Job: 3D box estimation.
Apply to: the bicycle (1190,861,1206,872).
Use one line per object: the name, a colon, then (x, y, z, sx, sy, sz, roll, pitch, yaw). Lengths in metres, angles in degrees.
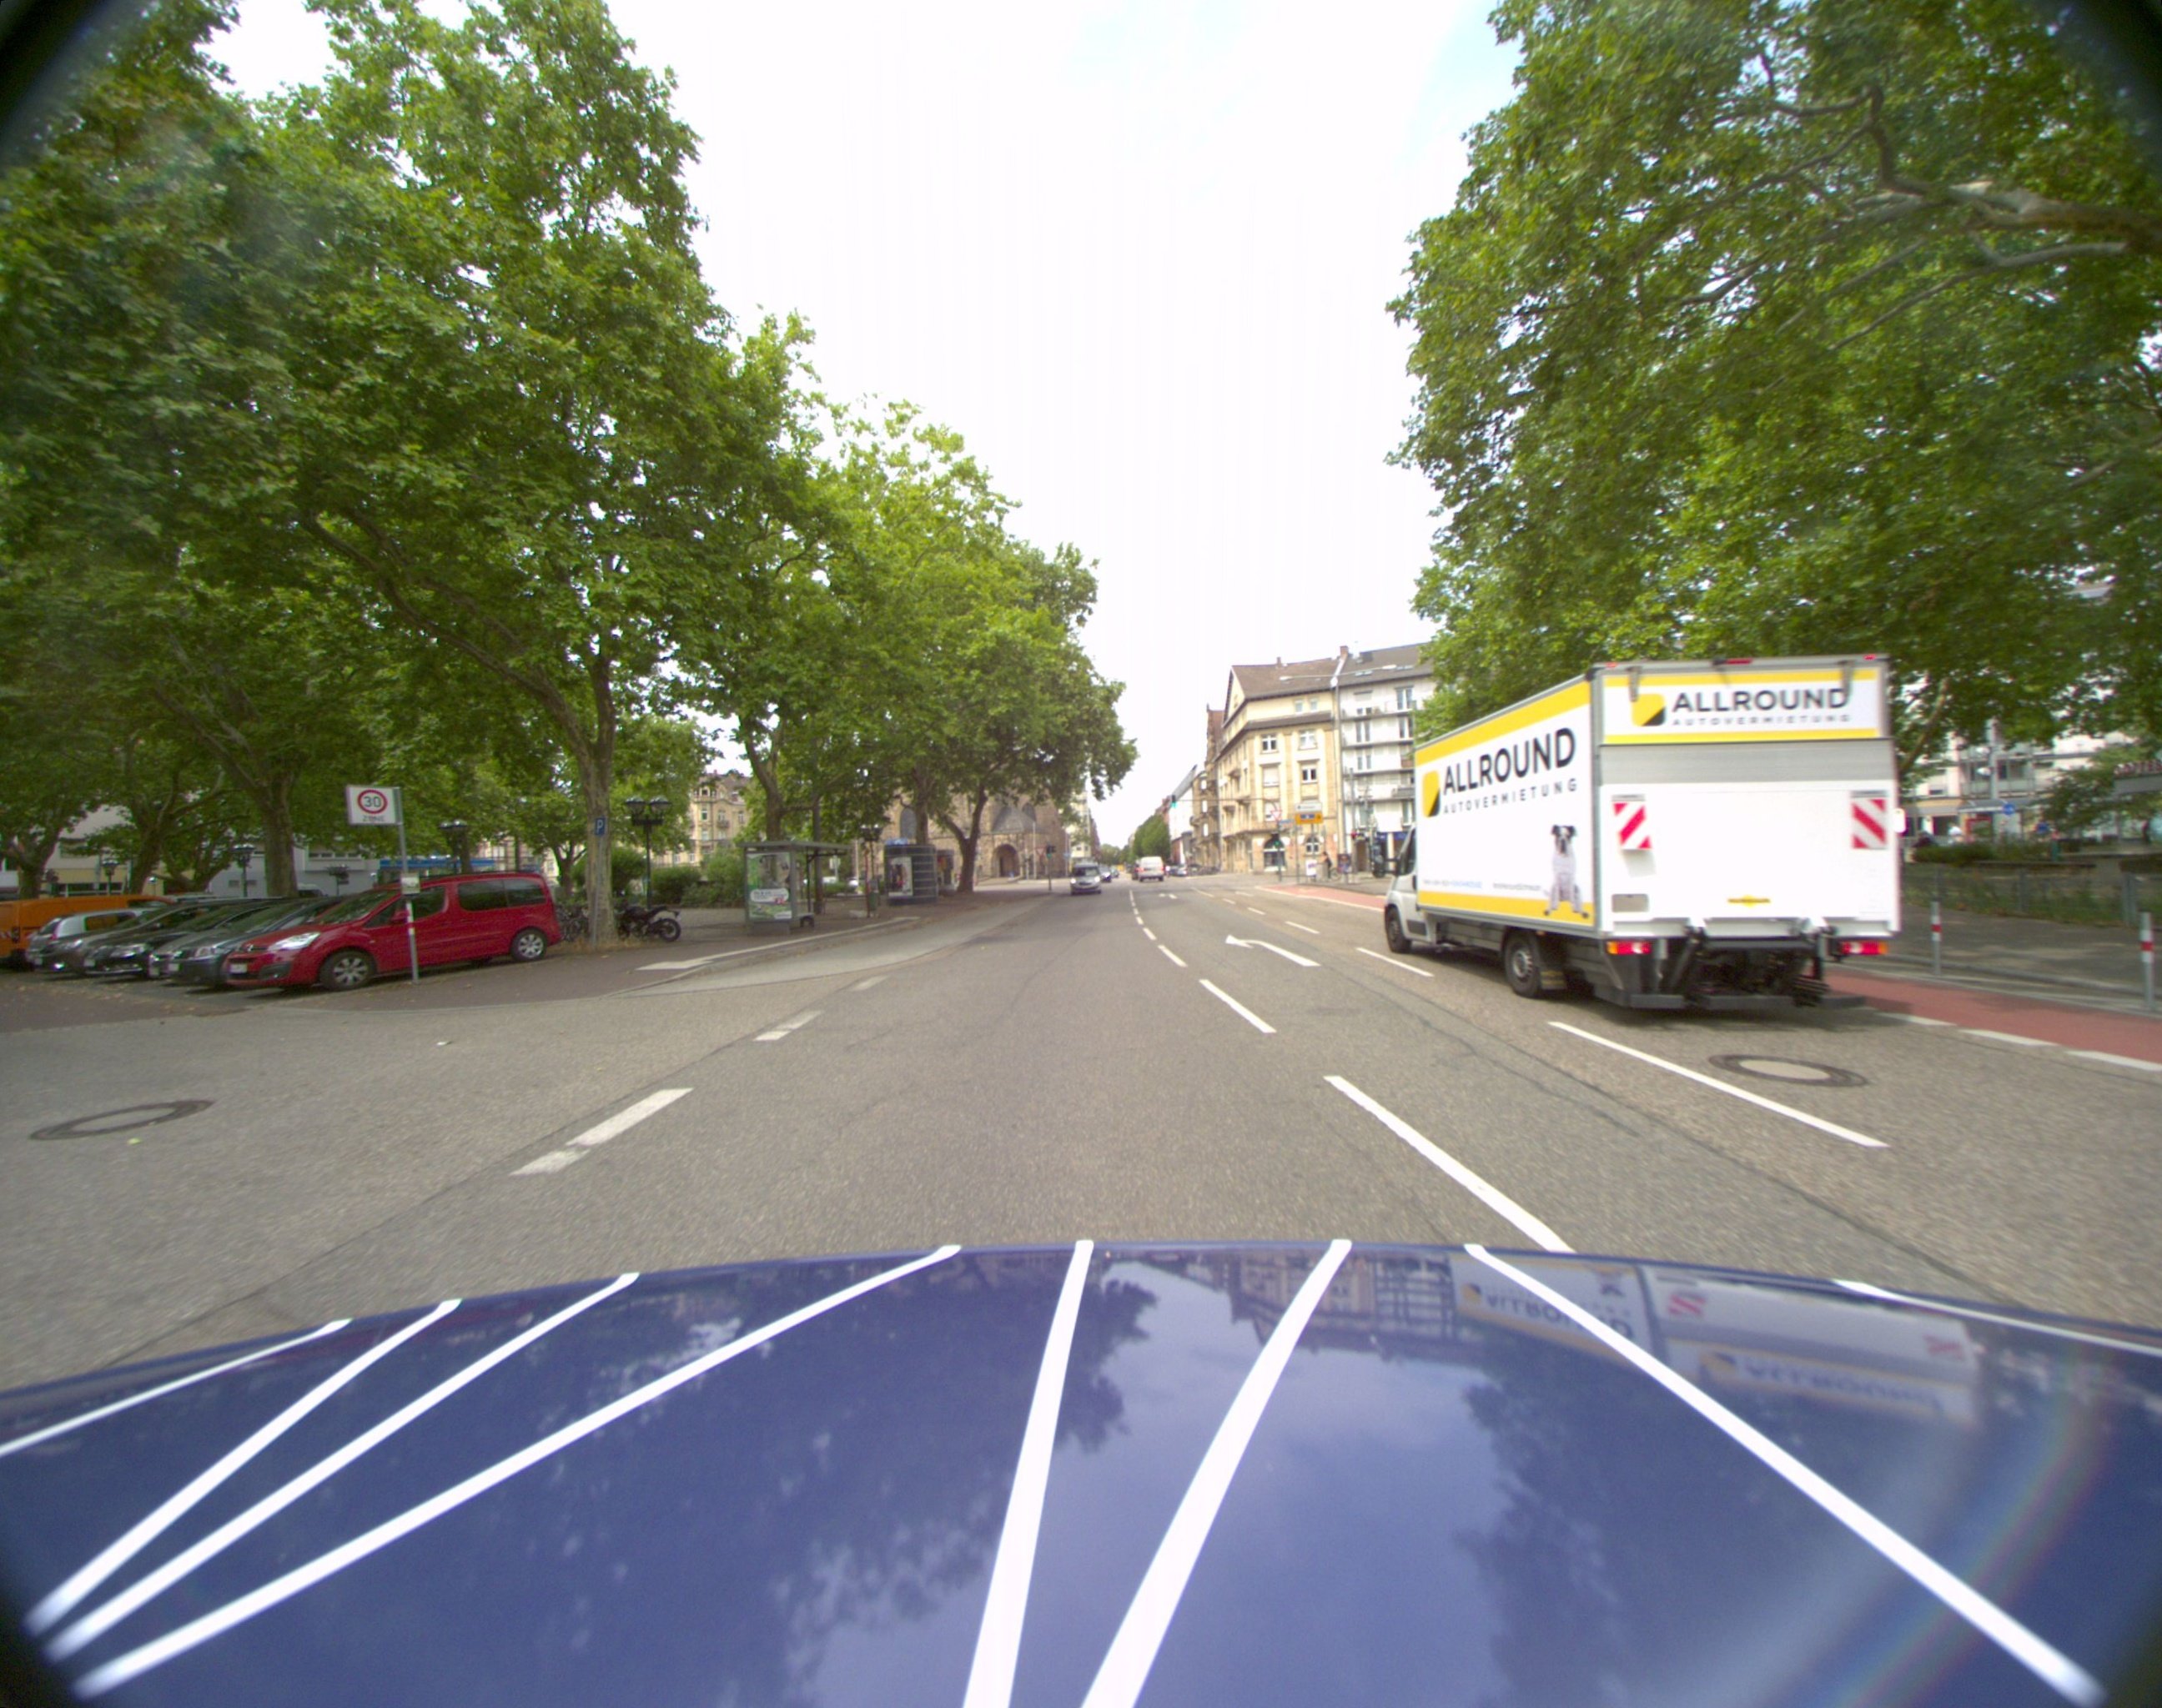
bicycle: (14.079, 1.511, 91.581, 1.821, 1.185, 0.397, -5, -1, -1)

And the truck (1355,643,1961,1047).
truck: (5.703, -0.039, 9.397, 2.547, 3.089, 7.023, 0, 0, 4)

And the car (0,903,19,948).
car: (-45.420, 2.964, 29.794, 1.913, 1.805, 4.006, -2, 0, 22)

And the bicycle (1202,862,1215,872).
bicycle: (15.509, 1.582, 92.261, 1.345, 1.185, 0.397, -5, -1, -4)

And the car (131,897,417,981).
car: (-18.273, 1.849, 17.464, 1.995, 1.455, 4.006, -2, 0, 23)

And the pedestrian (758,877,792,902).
pedestrian: (-15.803, 1.845, 39.306, 1.096, 1.206, 1.143, -2, 0, 27)

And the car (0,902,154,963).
car: (-32.688, 2.467, 23.783, 1.995, 1.608, 4.211, -2, 0, 23)

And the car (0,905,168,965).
car: (-30.347, 2.367, 22.362, 1.995, 1.455, 4.006, -2, 0, 23)

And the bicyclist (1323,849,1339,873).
bicyclist: (14.487, 0.425, 44.003, 0.751, 1.334, 0.493, -3, -1, 25)

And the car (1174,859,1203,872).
car: (14.689, 1.567, 103.826, 3.835, 1.526, 1.755, -1, -1, -36)

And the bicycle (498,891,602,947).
bicycle: (-14.448, 1.739, 20.752, 0.419, 1.369, 2.316, -2, -1, 34)

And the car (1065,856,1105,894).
car: (0.291, 1.216, 45.243, 2.081, 2.038, 4.682, -2, -1, 3)

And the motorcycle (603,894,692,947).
motorcycle: (-10.751, 1.639, 18.878, 1.859, 1.215, 0.531, -2, -1, -1)

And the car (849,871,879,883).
car: (-32.489, 3.459, 113.791, 1.995, 1.631, 3.961, -3, -1, 27)

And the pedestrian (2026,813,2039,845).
pedestrian: (58.819, -1.527, 46.955, 0.312, 1.942, 0.326, -2, 0, 17)

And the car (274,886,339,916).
car: (-58.635, 3.579, 57.521, 4.019, 2.095, 2.003, -3, -1, 22)

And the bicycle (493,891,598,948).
bicycle: (-14.737, 1.783, 20.989, 0.419, 1.370, 2.316, -2, 0, 34)

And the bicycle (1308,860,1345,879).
bicycle: (14.243, 0.912, 44.144, 1.966, 1.088, 0.628, -1, 0, 25)

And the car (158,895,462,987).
car: (-16.230, 1.747, 16.290, 1.747, 1.455, 4.192, -2, 0, 26)

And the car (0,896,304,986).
car: (-21.140, 1.892, 17.530, 1.995, 1.589, 4.006, -2, 0, 23)

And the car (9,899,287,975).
car: (-23.417, 2.001, 19.288, 1.995, 1.455, 4.006, -2, 0, 23)

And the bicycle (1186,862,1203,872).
bicycle: (13.524, 1.549, 90.428, 1.872, 1.185, 0.456, -3, -1, 22)

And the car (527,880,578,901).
car: (-51.024, 3.496, 73.377, 4.371, 1.866, 2.003, -3, -1, 24)

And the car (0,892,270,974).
car: (-25.479, 2.010, 20.419, 1.995, 1.685, 4.567, -2, 0, 23)

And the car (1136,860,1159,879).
car: (6.231, 1.419, 71.242, 1.826, 1.637, 4.429, -3, -1, 2)

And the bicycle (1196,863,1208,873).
bicycle: (14.837, 1.710, 93.294, 1.345, 1.185, 0.397, -2, -1, 1)

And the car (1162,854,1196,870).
car: (12.440, 0.977, 96.308, 4.042, 1.579, 1.756, -4, -3, -36)

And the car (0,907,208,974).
car: (-28.031, 2.376, 21.427, 1.995, 1.455, 4.006, -2, 0, 23)

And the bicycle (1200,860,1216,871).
bicycle: (15.199, 1.400, 91.025, 1.830, 1.185, 0.398, -4, -2, 2)

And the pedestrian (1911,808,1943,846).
pedestrian: (37.615, -1.192, 33.795, 0.683, 1.626, 0.697, -2, -1, 24)

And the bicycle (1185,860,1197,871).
bicycle: (13.549, 1.428, 93.661, 1.345, 1.185, 0.397, -5, -1, 1)

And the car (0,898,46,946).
car: (-43.112, 2.716, 28.900, 1.913, 1.805, 4.006, -2, 0, 22)

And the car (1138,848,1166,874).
car: (5.792, 0.615, 62.320, 1.928, 1.925, 4.949, -3, -1, 2)

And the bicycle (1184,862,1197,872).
bicycle: (13.377, 1.590, 92.952, 1.345, 1.185, 0.397, -5, -1, -4)

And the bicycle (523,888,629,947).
bicycle: (-13.247, 1.628, 20.028, 0.419, 1.369, 2.316, -2, -1, 34)

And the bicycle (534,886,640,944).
bicycle: (-12.782, 1.554, 19.733, 0.419, 1.369, 2.316, -2, -2, 34)

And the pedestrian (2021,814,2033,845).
pedestrian: (58.978, -1.530, 47.367, 0.312, 1.942, 0.326, -2, 0, 17)

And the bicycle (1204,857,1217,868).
bicycle: (15.640, 1.014, 91.682, 1.345, 1.185, 0.397, -5, -1, -4)

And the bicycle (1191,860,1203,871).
bicycle: (14.043, 1.418, 92.220, 1.345, 1.185, 0.397, -4, -1, -1)

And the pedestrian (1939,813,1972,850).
pedestrian: (48.433, -1.220, 42.084, 0.871, 2.001, 0.854, -3, -1, 25)

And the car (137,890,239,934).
car: (-40.446, 2.618, 34.411, 4.322, 1.805, 2.004, -3, -1, 27)

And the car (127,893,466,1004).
car: (-14.427, 1.632, 14.297, 1.829, 1.543, 4.006, -2, 0, 23)

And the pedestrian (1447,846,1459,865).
pedestrian: (29.872, 0.127, 61.039, 0.837, 1.543, 0.869, -2, 0, 26)

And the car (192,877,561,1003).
car: (-12.095, 1.353, 13.484, 1.934, 1.696, 4.337, -2, 0, 22)
